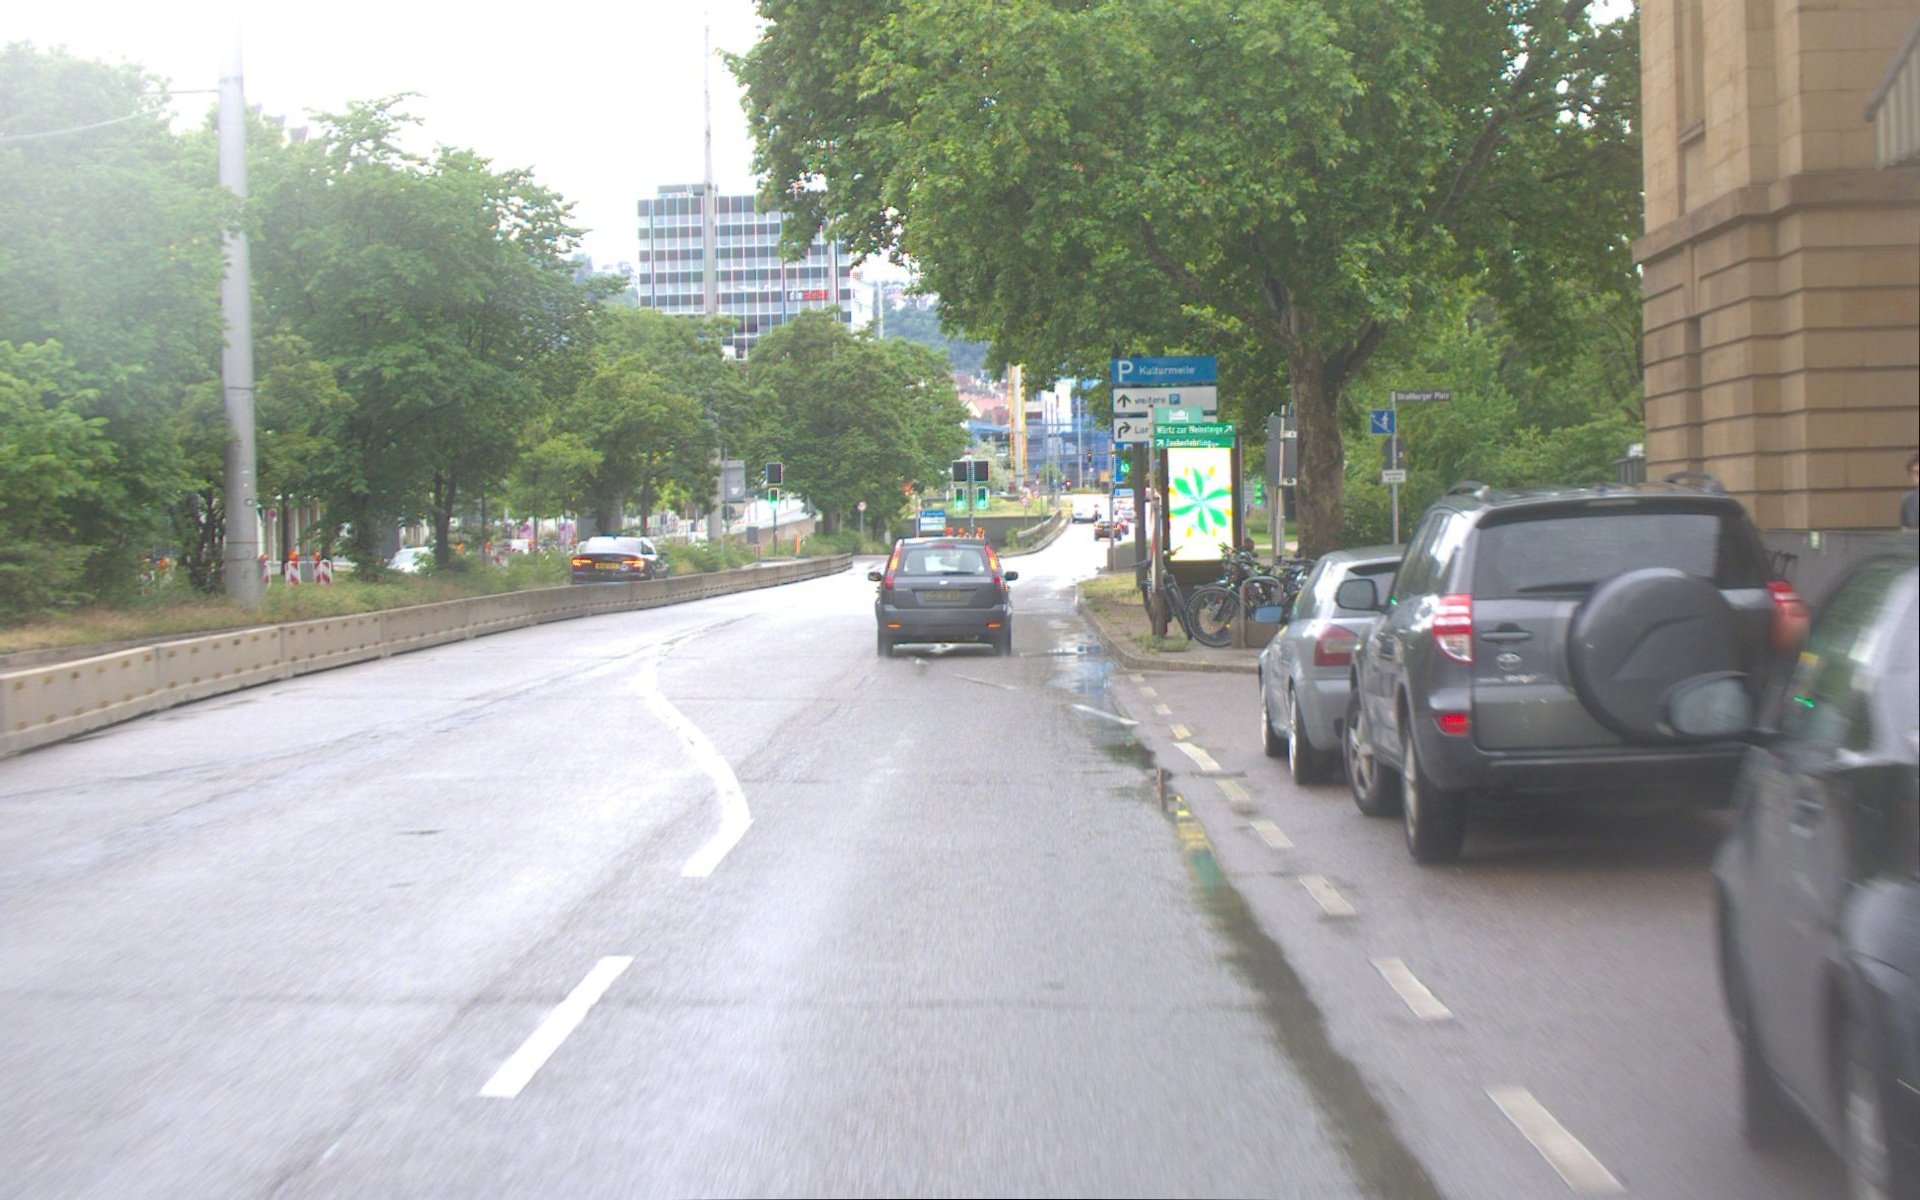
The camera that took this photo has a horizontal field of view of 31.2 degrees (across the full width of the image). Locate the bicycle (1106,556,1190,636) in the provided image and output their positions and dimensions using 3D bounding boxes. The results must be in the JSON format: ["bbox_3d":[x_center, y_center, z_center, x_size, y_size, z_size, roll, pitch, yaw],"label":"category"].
[{"bbox_3d":[2.336,-0.057,42.545,0.669,0.964,1.636,0,1,17],"label":"bicycle"}]

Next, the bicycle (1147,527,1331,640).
[{"bbox_3d":[3.357,-0.198,41.484,2.191,1.332,0.650,-1,1,4],"label":"bicycle"}]

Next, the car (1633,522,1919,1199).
[{"bbox_3d":[2.470,0.512,7.069,1.759,1.409,3.151,-4,0,6],"label":"car"}]

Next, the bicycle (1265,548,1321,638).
[{"bbox_3d":[4.567,-0.104,47.077,0.605,1.193,1.904,-3,0,9],"label":"bicycle"}]

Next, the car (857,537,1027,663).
[{"bbox_3d":[-0.269,-0.006,42.633,1.844,1.411,3.840,-3,0,-3],"label":"car"}]

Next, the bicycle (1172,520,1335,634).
[{"bbox_3d":[3.486,-0.273,40.914,1.906,1.328,0.650,-1,1,4],"label":"bicycle"}]

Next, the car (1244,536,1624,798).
[{"bbox_3d":[2.853,0.362,21.439,1.931,1.473,3.703,-1,1,1],"label":"car"}]

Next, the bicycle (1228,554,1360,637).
[{"bbox_3d":[4.112,-0.060,42.358,1.589,0.991,0.524,-1,1,4],"label":"bicycle"}]

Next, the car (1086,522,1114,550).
[{"bbox_3d":[9.500,-4.317,233.154,1.739,1.765,4.000,-3,0,4],"label":"car"}]

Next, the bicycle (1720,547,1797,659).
[{"bbox_3d":[7.888,0.019,34.008,0.352,1.076,1.789,0,1,0],"label":"bicycle"}]

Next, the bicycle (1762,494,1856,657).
[{"bbox_3d":[8.056,-0.243,32.670,0.453,1.510,1.600,1,1,-1],"label":"bicycle"}]

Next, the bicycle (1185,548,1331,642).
[{"bbox_3d":[3.488,-0.061,40.338,1.679,1.086,0.650,-1,1,4],"label":"bicycle"}]

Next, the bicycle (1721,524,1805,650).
[{"bbox_3d":[8.105,-0.145,34.739,0.453,1.246,1.600,1,1,0],"label":"bicycle"}]

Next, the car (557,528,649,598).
[{"bbox_3d":[-7.880,-0.822,76.093,1.754,1.447,4.000,-2,1,-3],"label":"car"}]

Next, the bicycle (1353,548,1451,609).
[{"bbox_3d":[7.567,-0.368,58.882,1.641,1.017,0.575,1,1,6],"label":"bicycle"}]

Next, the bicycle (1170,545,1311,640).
[{"bbox_3d":[3.389,-0.093,41.643,1.679,1.118,0.601,-1,1,4],"label":"bicycle"}]

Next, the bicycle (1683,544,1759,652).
[{"bbox_3d":[7.875,-0.029,35.626,0.352,1.076,1.789,-3,0,0],"label":"bicycle"}]

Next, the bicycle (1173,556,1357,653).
[{"bbox_3d":[3.438,0.043,38.819,1.985,1.056,0.759,-1,1,-2],"label":"bicycle"}]

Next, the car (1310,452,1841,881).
[{"bbox_3d":[2.782,0.258,16.461,1.994,1.775,4.188,-1,1,3],"label":"car"}]

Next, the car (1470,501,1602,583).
[{"bbox_3d":[12.313,-1.274,73.795,1.993,1.604,5.237,-1,2,0],"label":"car"}]
